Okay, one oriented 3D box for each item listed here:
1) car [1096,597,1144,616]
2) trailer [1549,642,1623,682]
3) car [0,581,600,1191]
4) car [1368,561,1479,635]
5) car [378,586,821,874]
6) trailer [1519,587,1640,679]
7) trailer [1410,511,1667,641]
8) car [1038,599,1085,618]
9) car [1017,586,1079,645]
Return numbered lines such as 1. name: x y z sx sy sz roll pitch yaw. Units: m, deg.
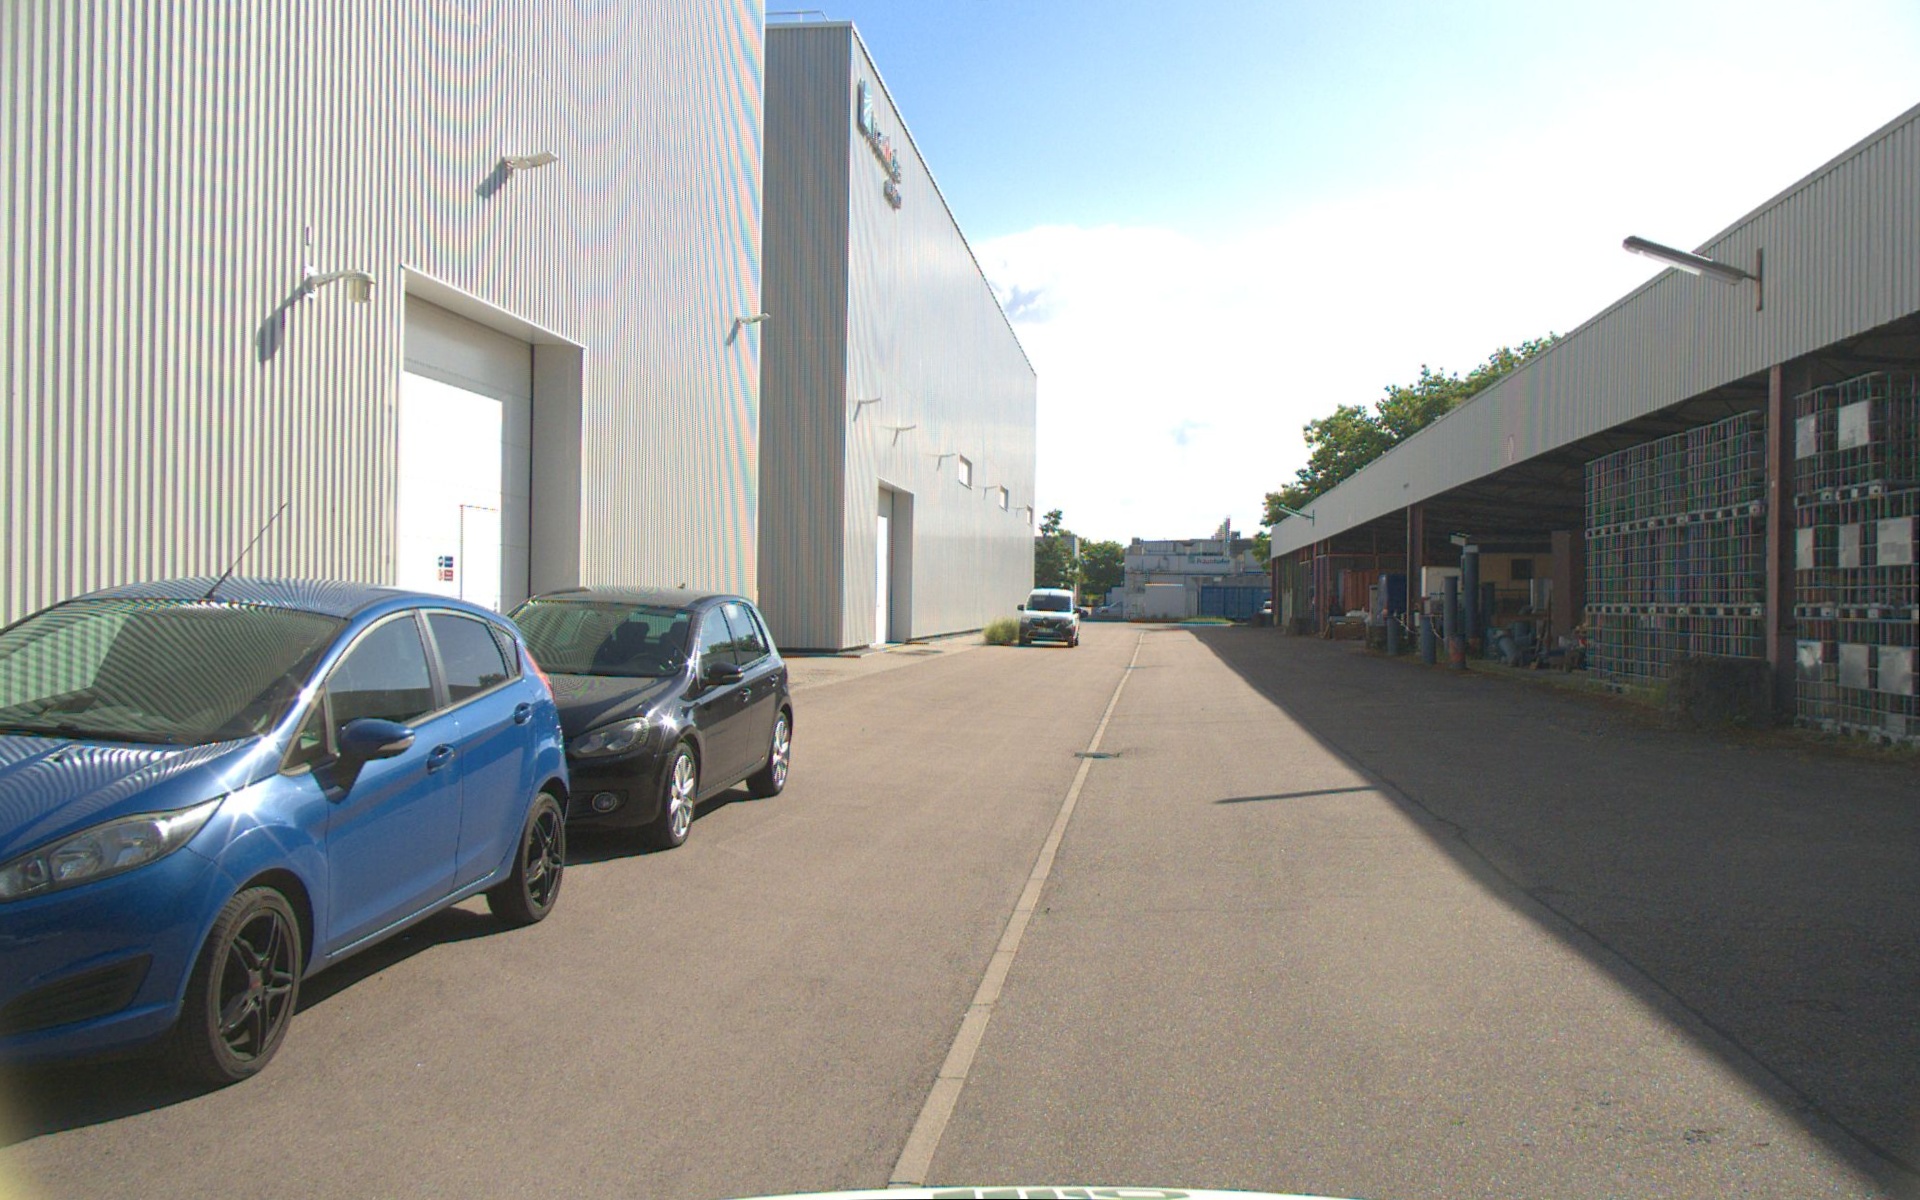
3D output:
1. car: 12.947 0.511 133.988 3.802 1.487 1.624 0 0 9
2. trailer: 10.402 1.019 27.494 0.950 0.577 0.733 2 2 2
3. car: -2.675 0.687 5.993 1.585 1.472 3.767 1 0 5
4. car: 16.025 -0.072 57.369 3.430 2.484 2.002 -1 0 7
5. car: -2.153 0.709 11.006 1.615 1.471 3.881 3 0 7
6. trailer: 11.431 0.581 30.626 1.513 1.545 1.914 2 2 2
7. trailer: 16.002 -0.635 46.150 6.253 3.429 2.827 -1 0 6
8. car: 8.352 0.709 135.558 3.802 1.487 1.624 0 0 6
9. car: 2.889 0.495 53.530 1.867 1.825 4.002 0 0 5
